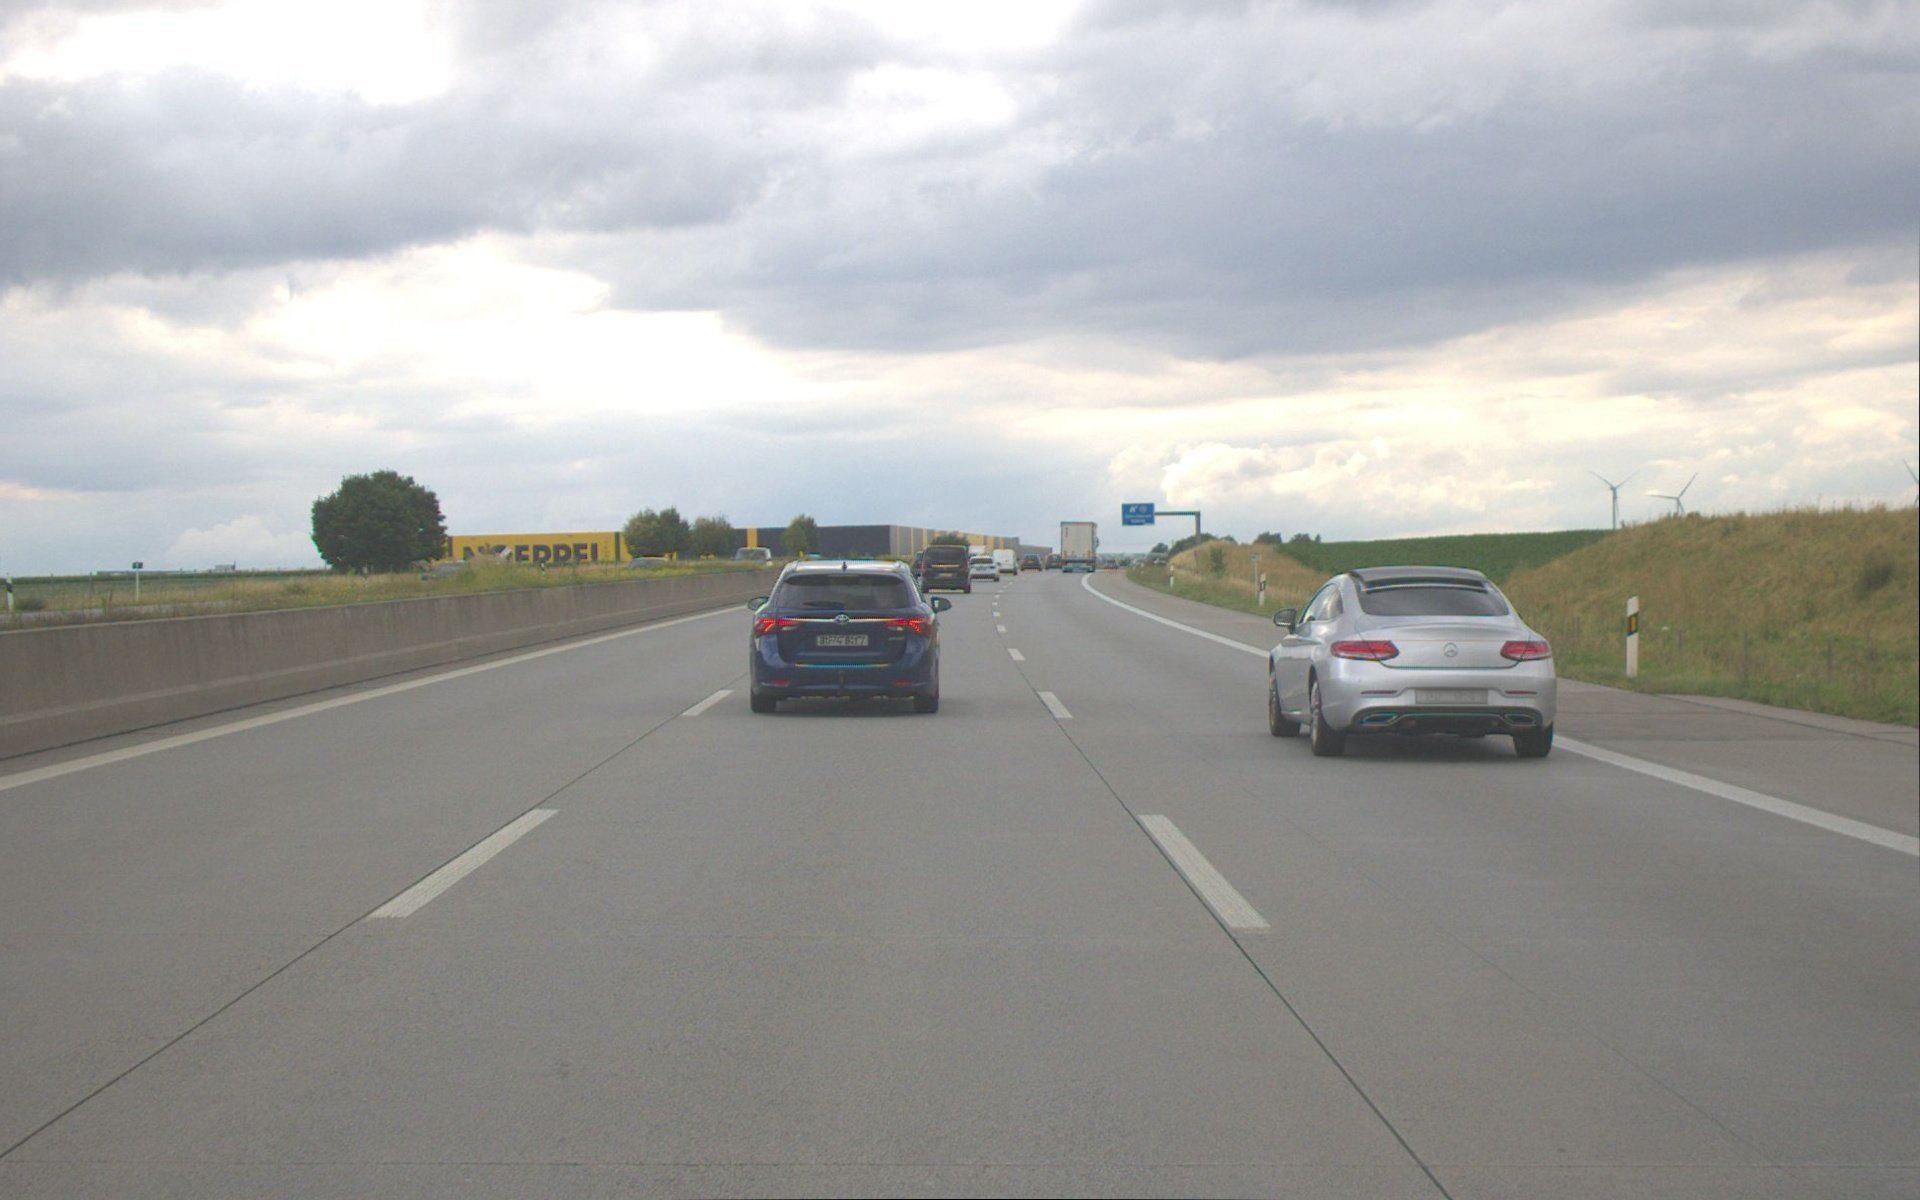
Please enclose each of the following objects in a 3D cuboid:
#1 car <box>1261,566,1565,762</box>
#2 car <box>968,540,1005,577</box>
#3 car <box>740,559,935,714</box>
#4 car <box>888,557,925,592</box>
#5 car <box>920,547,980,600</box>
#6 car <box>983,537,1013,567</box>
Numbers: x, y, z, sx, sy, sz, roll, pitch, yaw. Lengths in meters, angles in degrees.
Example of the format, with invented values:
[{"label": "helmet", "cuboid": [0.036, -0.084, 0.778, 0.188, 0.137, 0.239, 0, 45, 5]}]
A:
[{"label": "car", "cuboid": [3.441, 0.444, 26.815, 1.788, 1.399, 4.221, 0, 0, 0]}, {"label": "car", "cuboid": [1.471, -2.302, 190.032, 1.993, 2.007, 4.000, 1, 1, 1]}, {"label": "car", "cuboid": [-1.190, 0.315, 33.327, 1.774, 1.408, 4.000, 0, 0, -2]}, {"label": "car", "cuboid": [-3.124, -1.499, 201.304, 2.046, 2.007, 4.000, 1, 0, 0]}, {"label": "car", "cuboid": [-0.396, -1.020, 133.879, 1.993, 2.007, 4.001, 1, 0, -5]}, {"label": "car", "cuboid": [2.647, -3.325, 239.491, 1.993, 2.007, 4.000, 1, 0, 0]}]
